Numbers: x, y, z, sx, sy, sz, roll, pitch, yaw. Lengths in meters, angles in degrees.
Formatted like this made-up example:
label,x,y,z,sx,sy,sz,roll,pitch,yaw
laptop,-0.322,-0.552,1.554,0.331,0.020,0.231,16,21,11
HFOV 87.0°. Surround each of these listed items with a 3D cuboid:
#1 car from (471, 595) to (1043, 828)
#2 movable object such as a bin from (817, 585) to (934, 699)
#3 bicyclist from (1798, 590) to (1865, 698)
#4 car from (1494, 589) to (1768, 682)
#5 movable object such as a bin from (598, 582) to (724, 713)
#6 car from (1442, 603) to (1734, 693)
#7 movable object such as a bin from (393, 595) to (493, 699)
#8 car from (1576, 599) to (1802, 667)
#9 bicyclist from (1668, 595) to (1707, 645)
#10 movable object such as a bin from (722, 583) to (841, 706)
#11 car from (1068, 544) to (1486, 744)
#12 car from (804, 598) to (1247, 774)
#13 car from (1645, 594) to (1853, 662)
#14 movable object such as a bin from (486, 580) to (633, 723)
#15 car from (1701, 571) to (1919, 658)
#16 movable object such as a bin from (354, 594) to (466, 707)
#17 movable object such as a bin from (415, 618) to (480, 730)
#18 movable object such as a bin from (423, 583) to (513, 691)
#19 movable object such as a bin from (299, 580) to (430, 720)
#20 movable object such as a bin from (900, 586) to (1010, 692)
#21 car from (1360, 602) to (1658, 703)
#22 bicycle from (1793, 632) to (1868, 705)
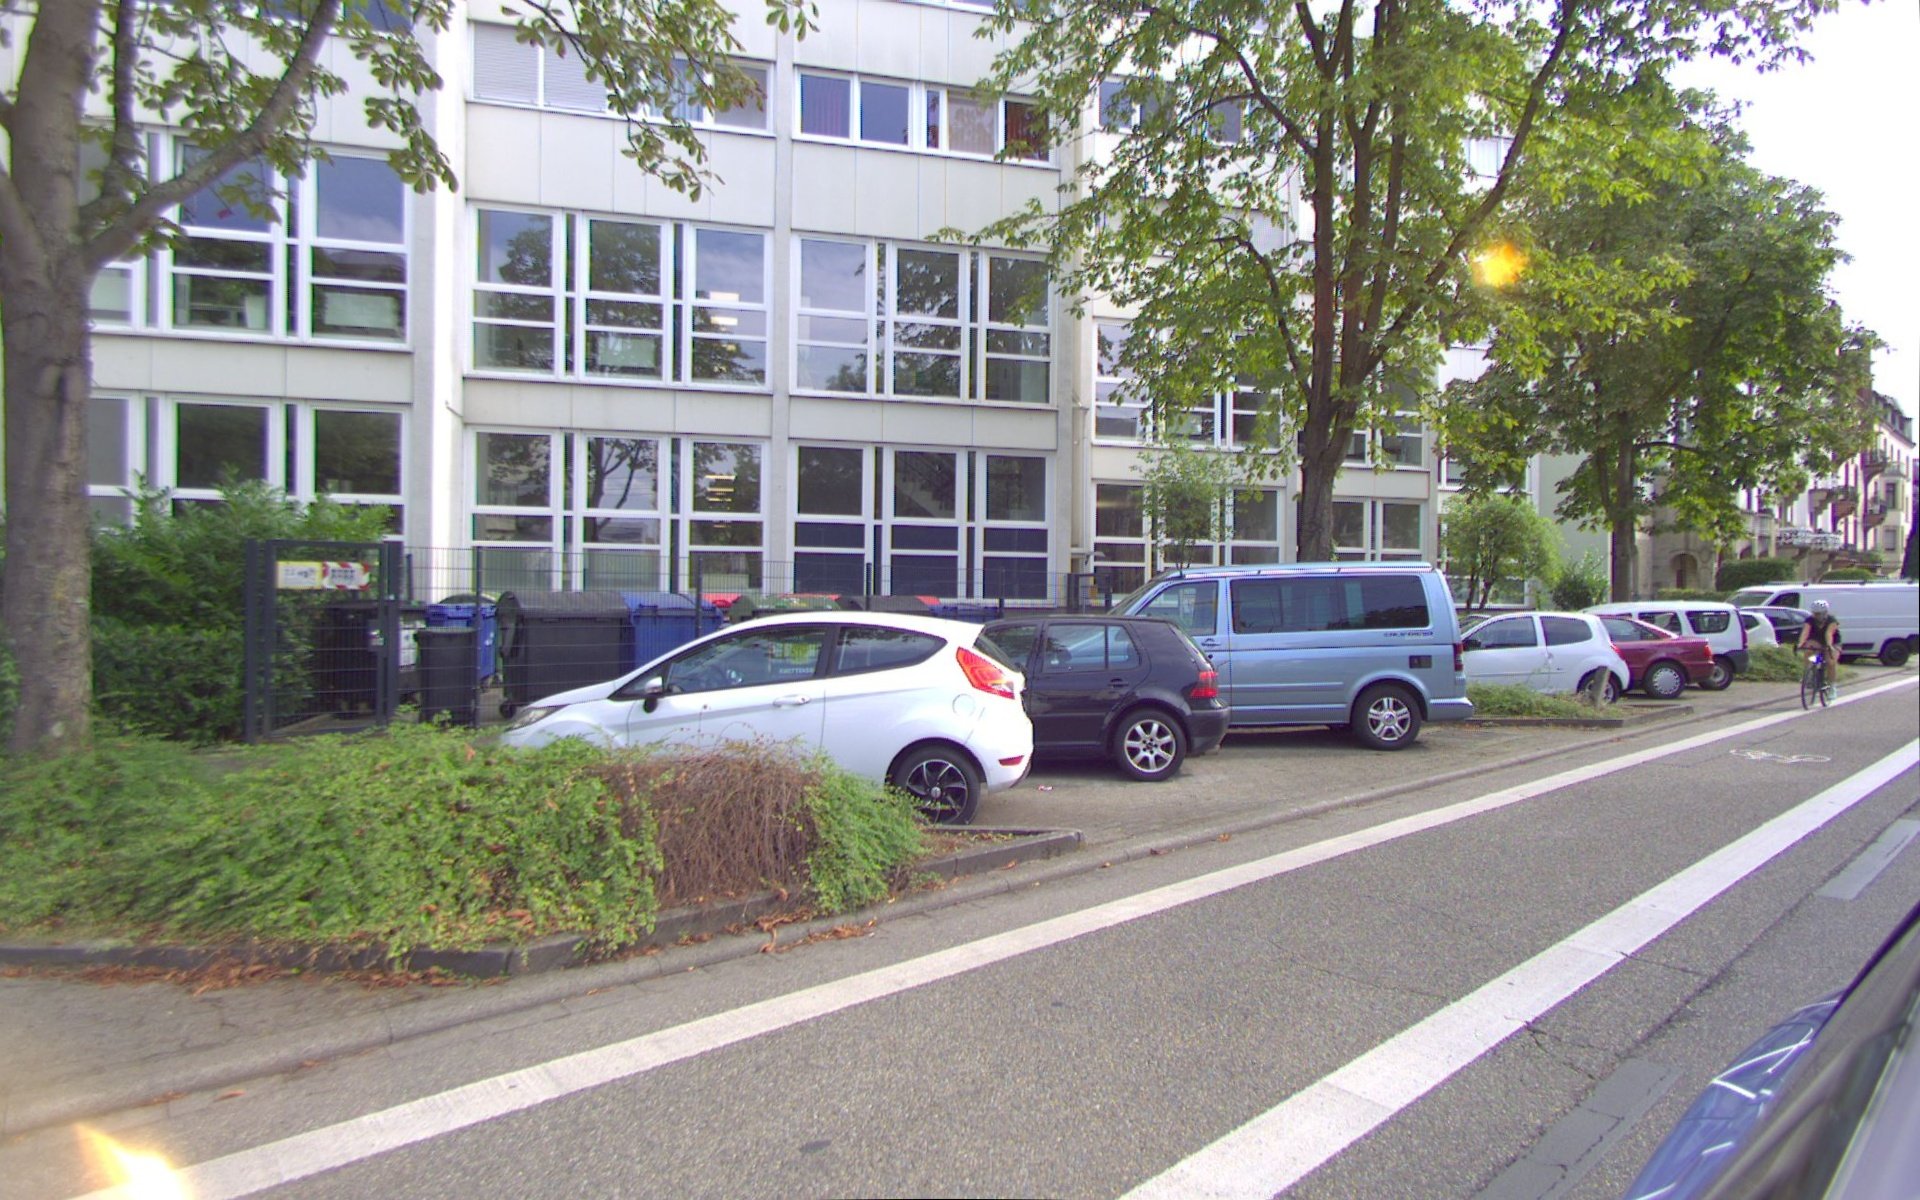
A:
label,x,y,z,sx,sy,sz,roll,pitch,yaw
car,-1.311,0.712,7.372,3.759,1.478,1.639,0,0,4
movable object such as a bin,-1.208,0.566,14.412,1.299,1.527,1.071,1,-1,-39
bicyclist,13.512,0.653,15.688,1.091,1.590,0.639,1,1,-42
car,12.780,0.651,19.487,4.036,1.689,1.687,0,0,5
movable object such as a bin,-3.708,0.556,12.544,1.192,1.527,1.071,1,-1,-39
car,10.719,0.780,17.540,3.909,1.451,1.685,0,0,8
movable object such as a bin,-7.193,0.629,14.145,1.056,1.385,1.037,0,-1,-16
car,17.228,0.757,24.086,4.020,1.530,1.687,0,0,6
bicyclist,22.563,0.621,31.380,0.784,1.488,0.651,1,2,-27
movable object such as a bin,-2.371,0.560,13.432,1.192,1.527,1.071,1,-1,-39
car,3.362,0.452,11.476,4.201,2.040,1.829,0,0,6
car,0.575,0.723,9.454,3.759,1.478,1.675,0,0,4
car,20.280,0.697,26.149,3.891,1.669,1.687,0,0,6
movable object such as a bin,-4.595,0.551,11.611,1.310,1.527,1.071,1,-1,-39
car,24.129,0.379,28.303,4.875,2.319,2.380,0,0,8
movable object such as a bin,-7.055,0.621,13.049,1.056,1.385,1.037,0,-1,-16
movable object such as a bin,-5.368,0.749,10.590,0.561,1.117,0.653,0,-1,-31
movable object such as a bin,-7.493,0.540,15.470,1.056,1.582,1.037,0,-1,-16
movable object such as a bin,-6.913,0.556,11.828,1.056,1.542,1.121,0,-1,-16
movable object such as a bin,-0.077,0.571,15.405,1.299,1.527,1.071,1,-1,-39
car,8.364,0.770,15.695,3.651,1.451,1.687,0,0,6
bicycle,13.560,1.033,15.738,2.036,0.993,0.639,0,1,-43
